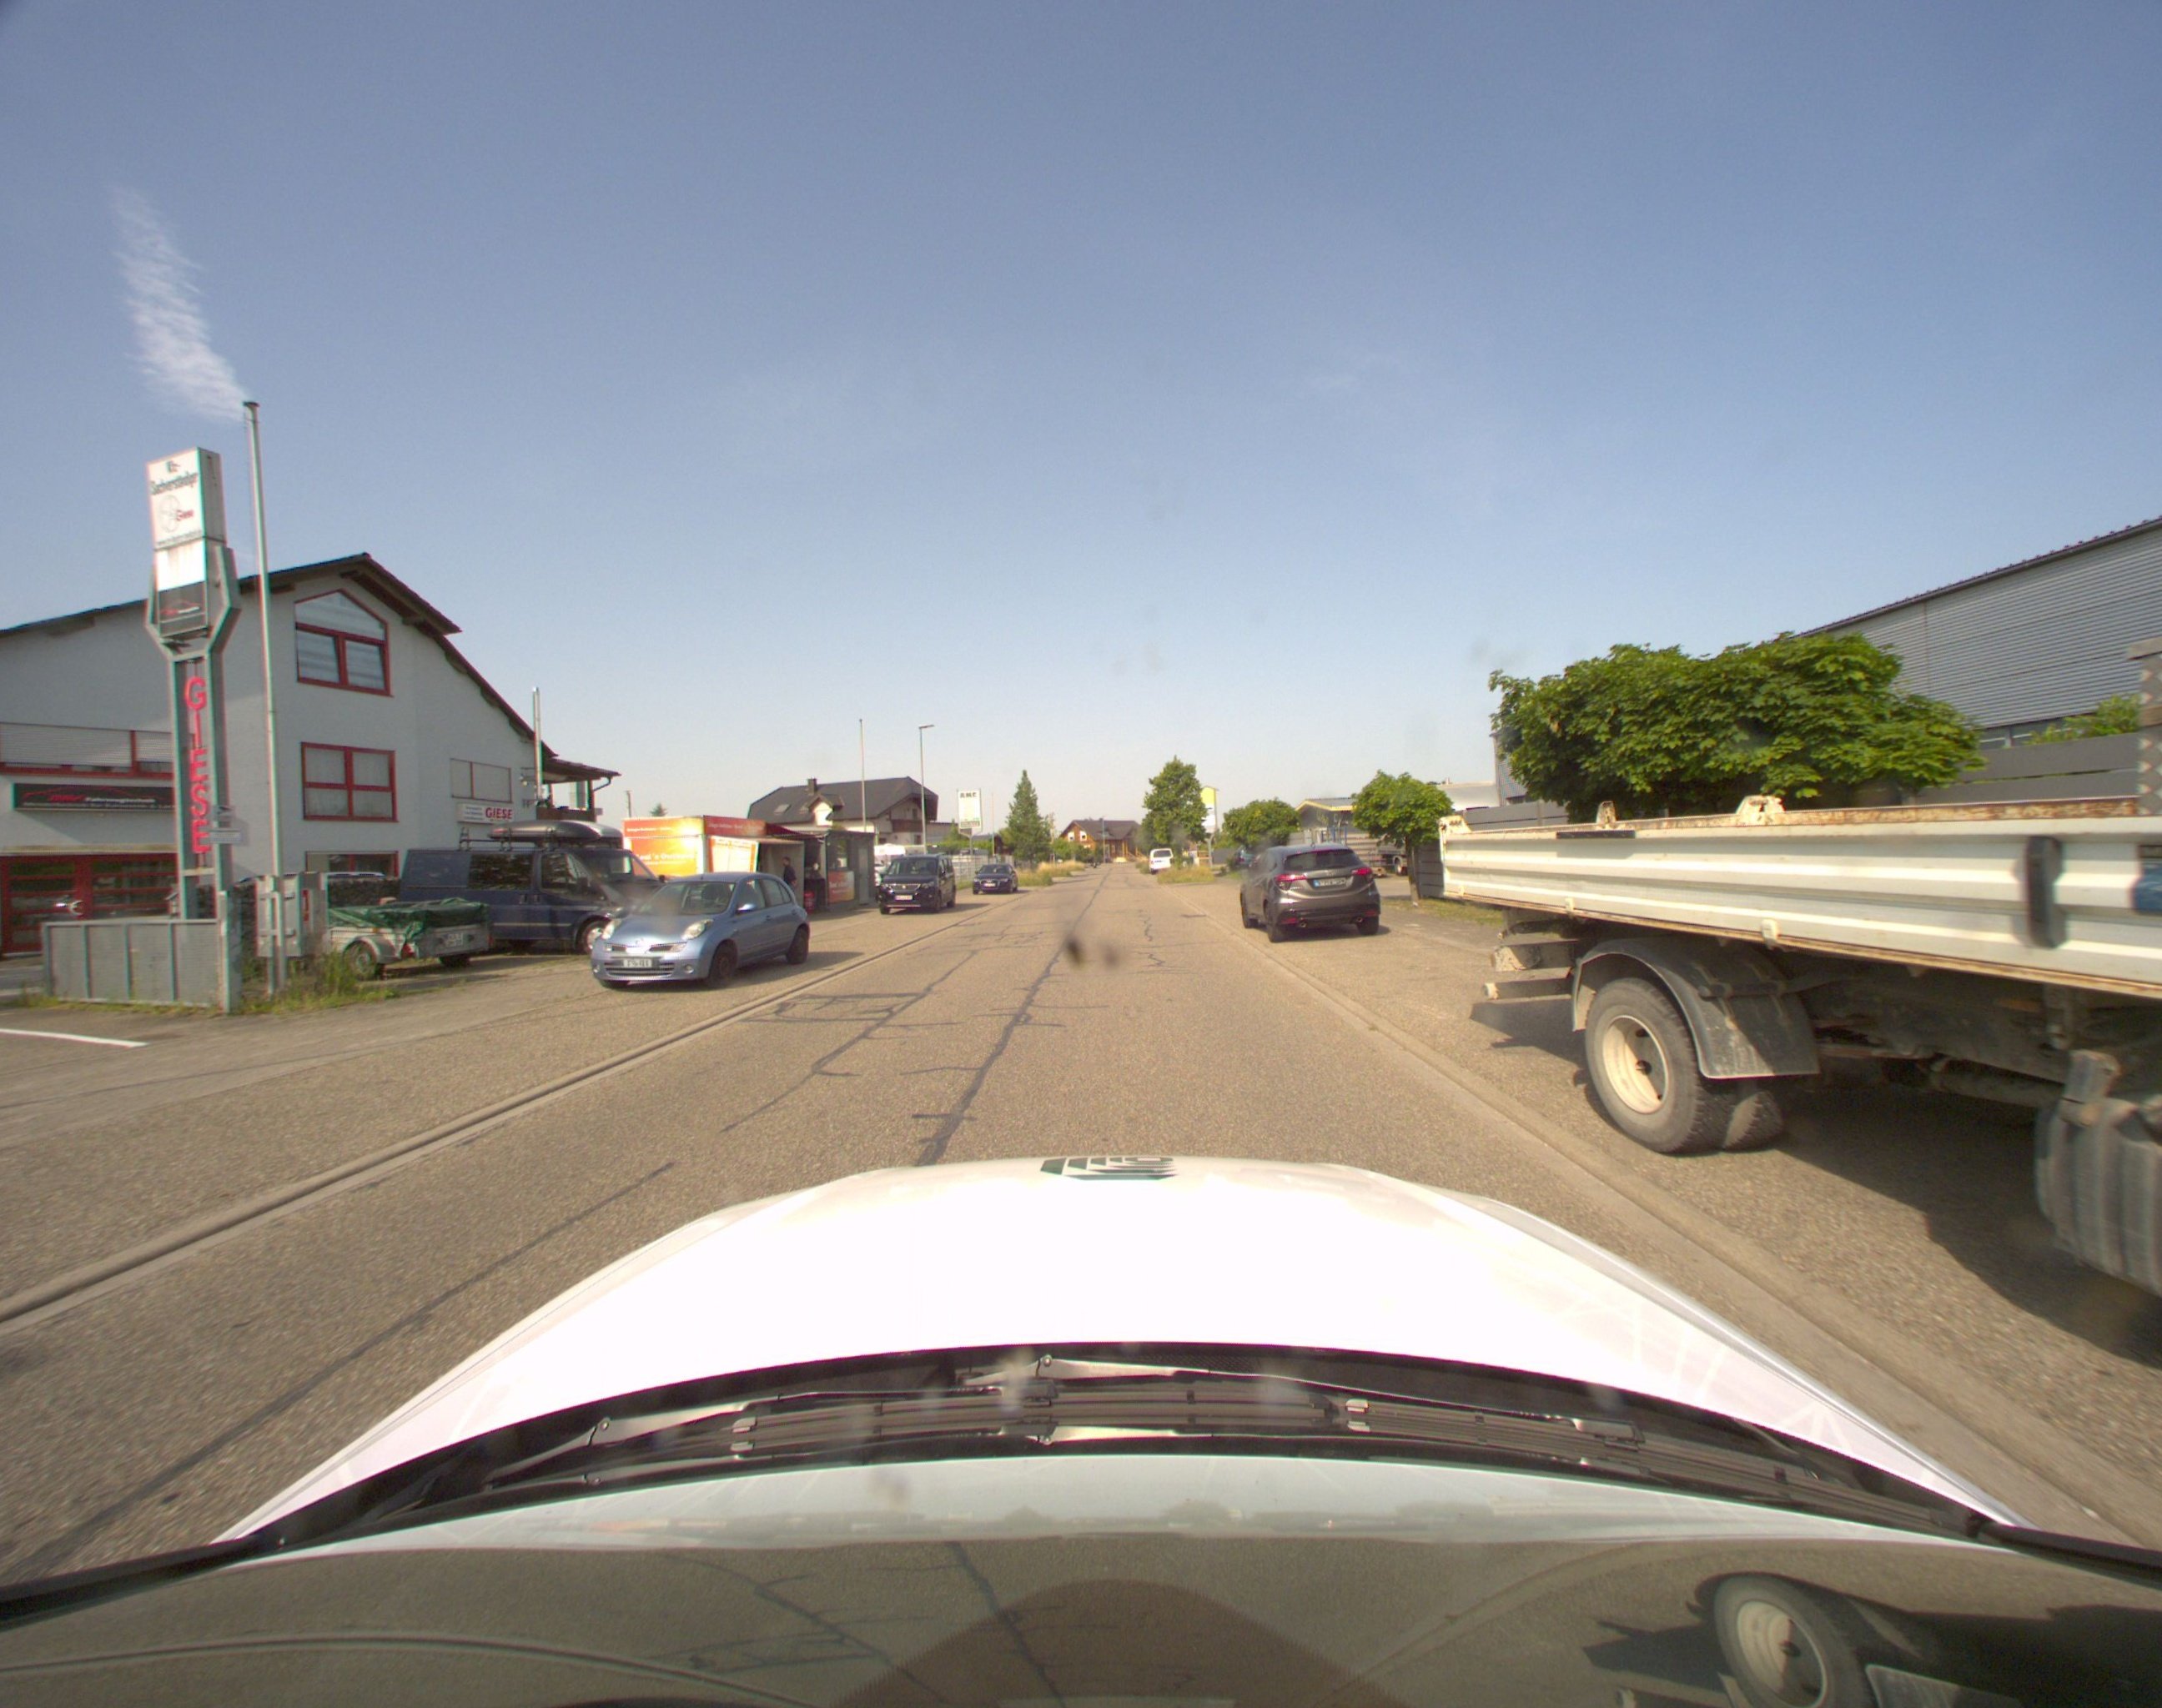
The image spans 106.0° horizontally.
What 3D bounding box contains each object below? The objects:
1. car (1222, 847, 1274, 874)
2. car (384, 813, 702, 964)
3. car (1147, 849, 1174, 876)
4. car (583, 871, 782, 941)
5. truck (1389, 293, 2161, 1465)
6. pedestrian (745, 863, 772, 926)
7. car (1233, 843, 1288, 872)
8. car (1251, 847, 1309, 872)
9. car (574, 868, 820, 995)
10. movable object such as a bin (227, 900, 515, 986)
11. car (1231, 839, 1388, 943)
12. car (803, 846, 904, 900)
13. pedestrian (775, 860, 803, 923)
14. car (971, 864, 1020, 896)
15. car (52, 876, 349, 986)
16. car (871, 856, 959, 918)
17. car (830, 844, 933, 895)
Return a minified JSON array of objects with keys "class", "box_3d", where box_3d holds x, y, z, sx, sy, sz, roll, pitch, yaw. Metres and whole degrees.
[{"class":"car","box_3d":[10.566,0.417,51.635,3.123,1.521,1.396,-3,0,10]},{"class":"car","box_3d":[-9.940,0.620,15.285,4.605,2.416,2.003,-3,0,4]},{"class":"car","box_3d":[6.310,0.658,64.688,1.830,1.924,3.759,-3,0,3]},{"class":"car","box_3d":[-8.858,1.133,18.338,3.577,1.414,1.761,-1,-1,-1]},{"class":"truck","box_3d":[3.625,0.039,2.907,2.352,2.681,6.507,-3,-1,-1]},{"class":"pedestrian","box_3d":[-8.880,1.110,22.440,0.406,1.687,0.541,-3,-1,6]},{"class":"car","box_3d":[10.916,0.227,49.599,3.123,1.580,1.396,-3,-1,10]},{"class":"car","box_3d":[11.485,0.332,47.135,3.123,1.266,1.396,-3,-1,10]},{"class":"car","box_3d":[-5.373,1.006,11.940,1.625,1.517,3.610,-1,0,5]},{"class":"movable object such as a bin","box_3d":[-11.206,1.369,12.974,3.302,1.147,1.767,-1,0,11]},{"class":"car","box_3d":[3.971,0.587,14.839,1.788,1.560,4.001,-3,0,2]},{"class":"car","box_3d":[-12.211,1.034,43.728,4.760,2.586,2.157,-4,-1,23]},{"class":"pedestrian","box_3d":[-8.251,1.049,23.012,0.566,1.715,0.528,-3,-1,-35]},{"class":"car","box_3d":[-4.032,1.194,38.777,1.793,1.387,3.639,-1,0,2]},{"class":"car","box_3d":[-16.021,1.314,15.097,1.539,1.662,3.478,-3,0,4]},{"class":"car","box_3d":[-5.163,0.970,25.926,1.793,1.774,4.204,-1,0,2]},{"class":"car","box_3d":[-11.530,0.903,47.034,5.111,2.586,2.591,-4,-1,23]}]
